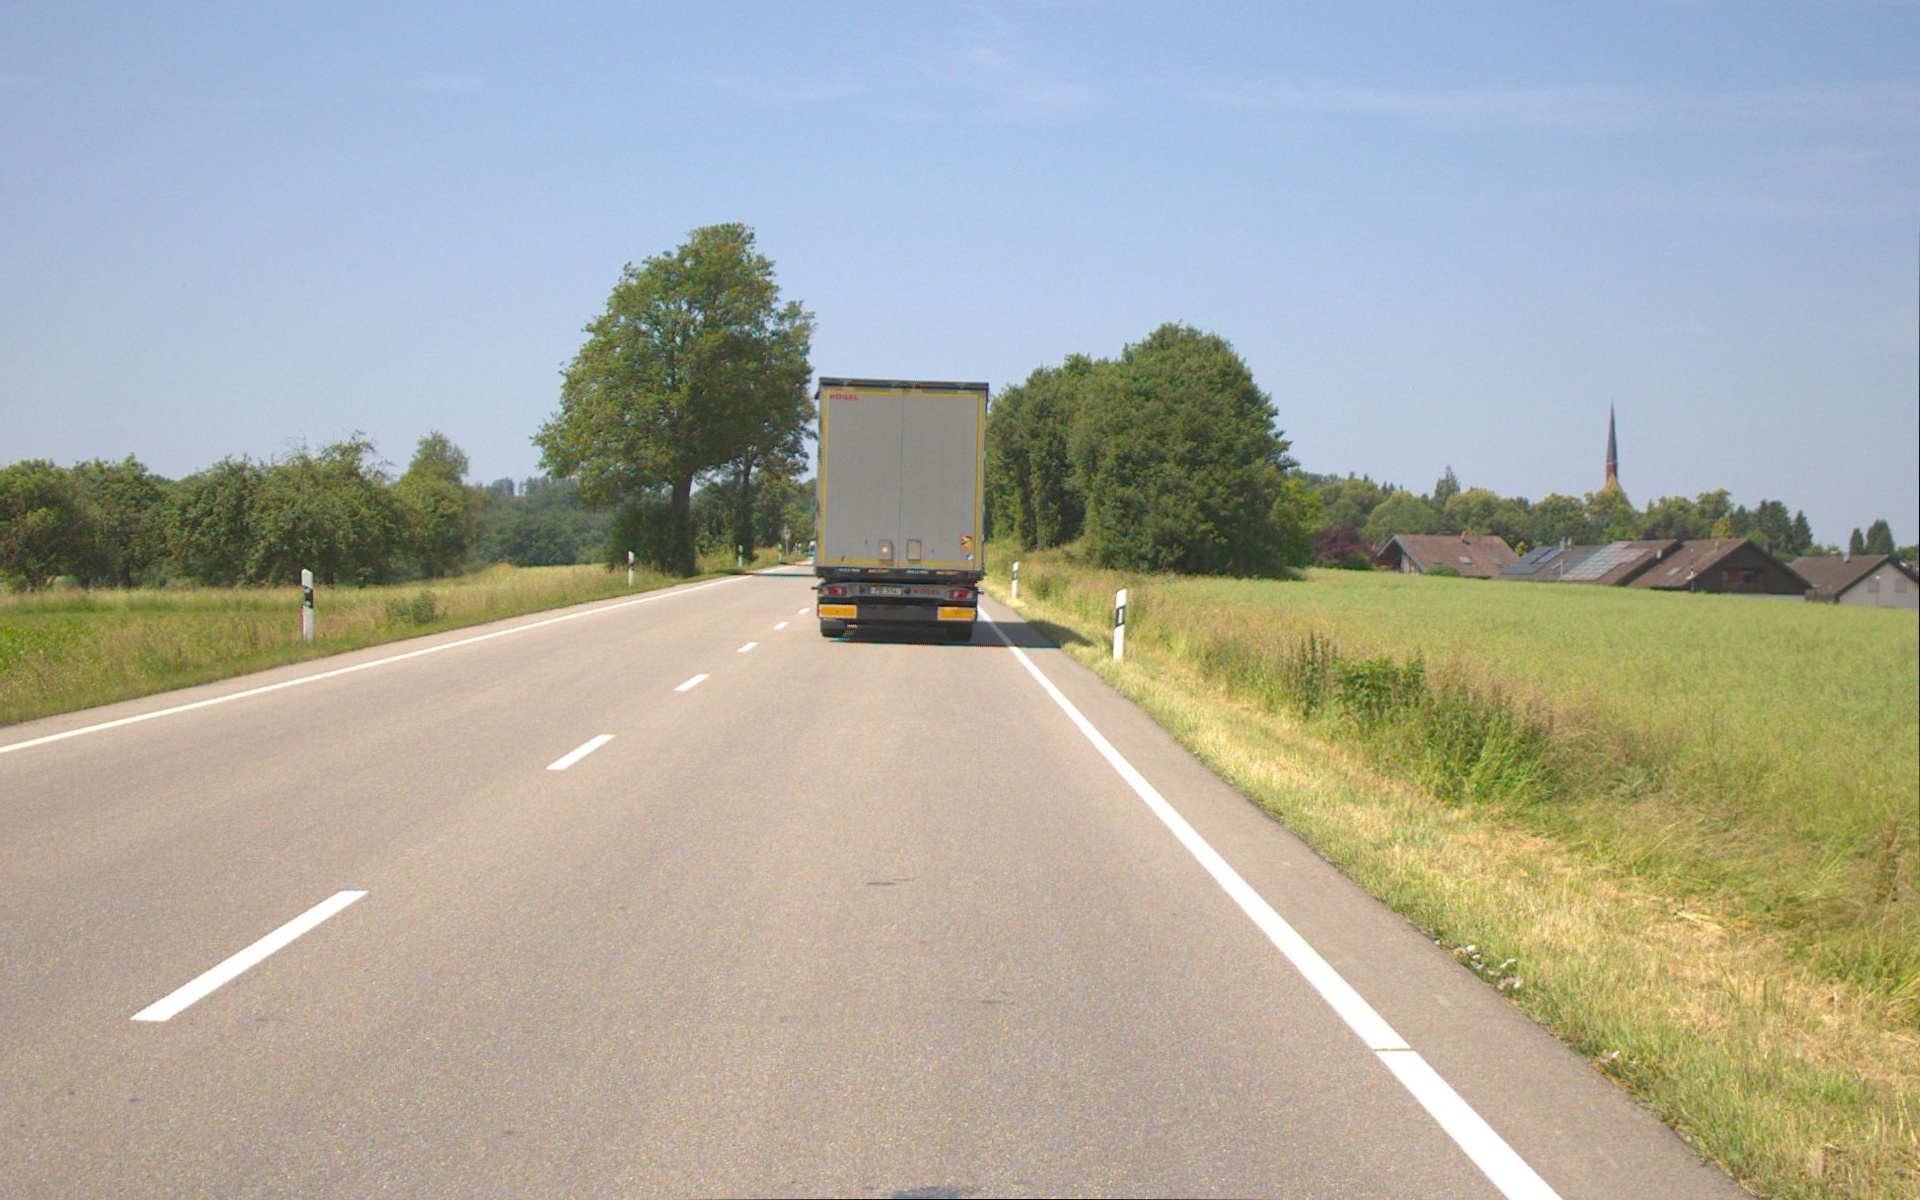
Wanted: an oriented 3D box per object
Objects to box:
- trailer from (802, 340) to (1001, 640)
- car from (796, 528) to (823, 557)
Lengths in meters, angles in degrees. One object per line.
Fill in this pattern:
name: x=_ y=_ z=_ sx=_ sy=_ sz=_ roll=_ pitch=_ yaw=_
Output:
trailer: x=-1.017 y=-1.767 z=57.976 sx=2.867 sy=4.385 sz=13.494 roll=1 pitch=1 yaw=-1
car: x=-10.643 y=-4.104 z=243.573 sx=1.873 sy=2.007 sz=4.075 roll=0 pitch=1 yaw=-2
